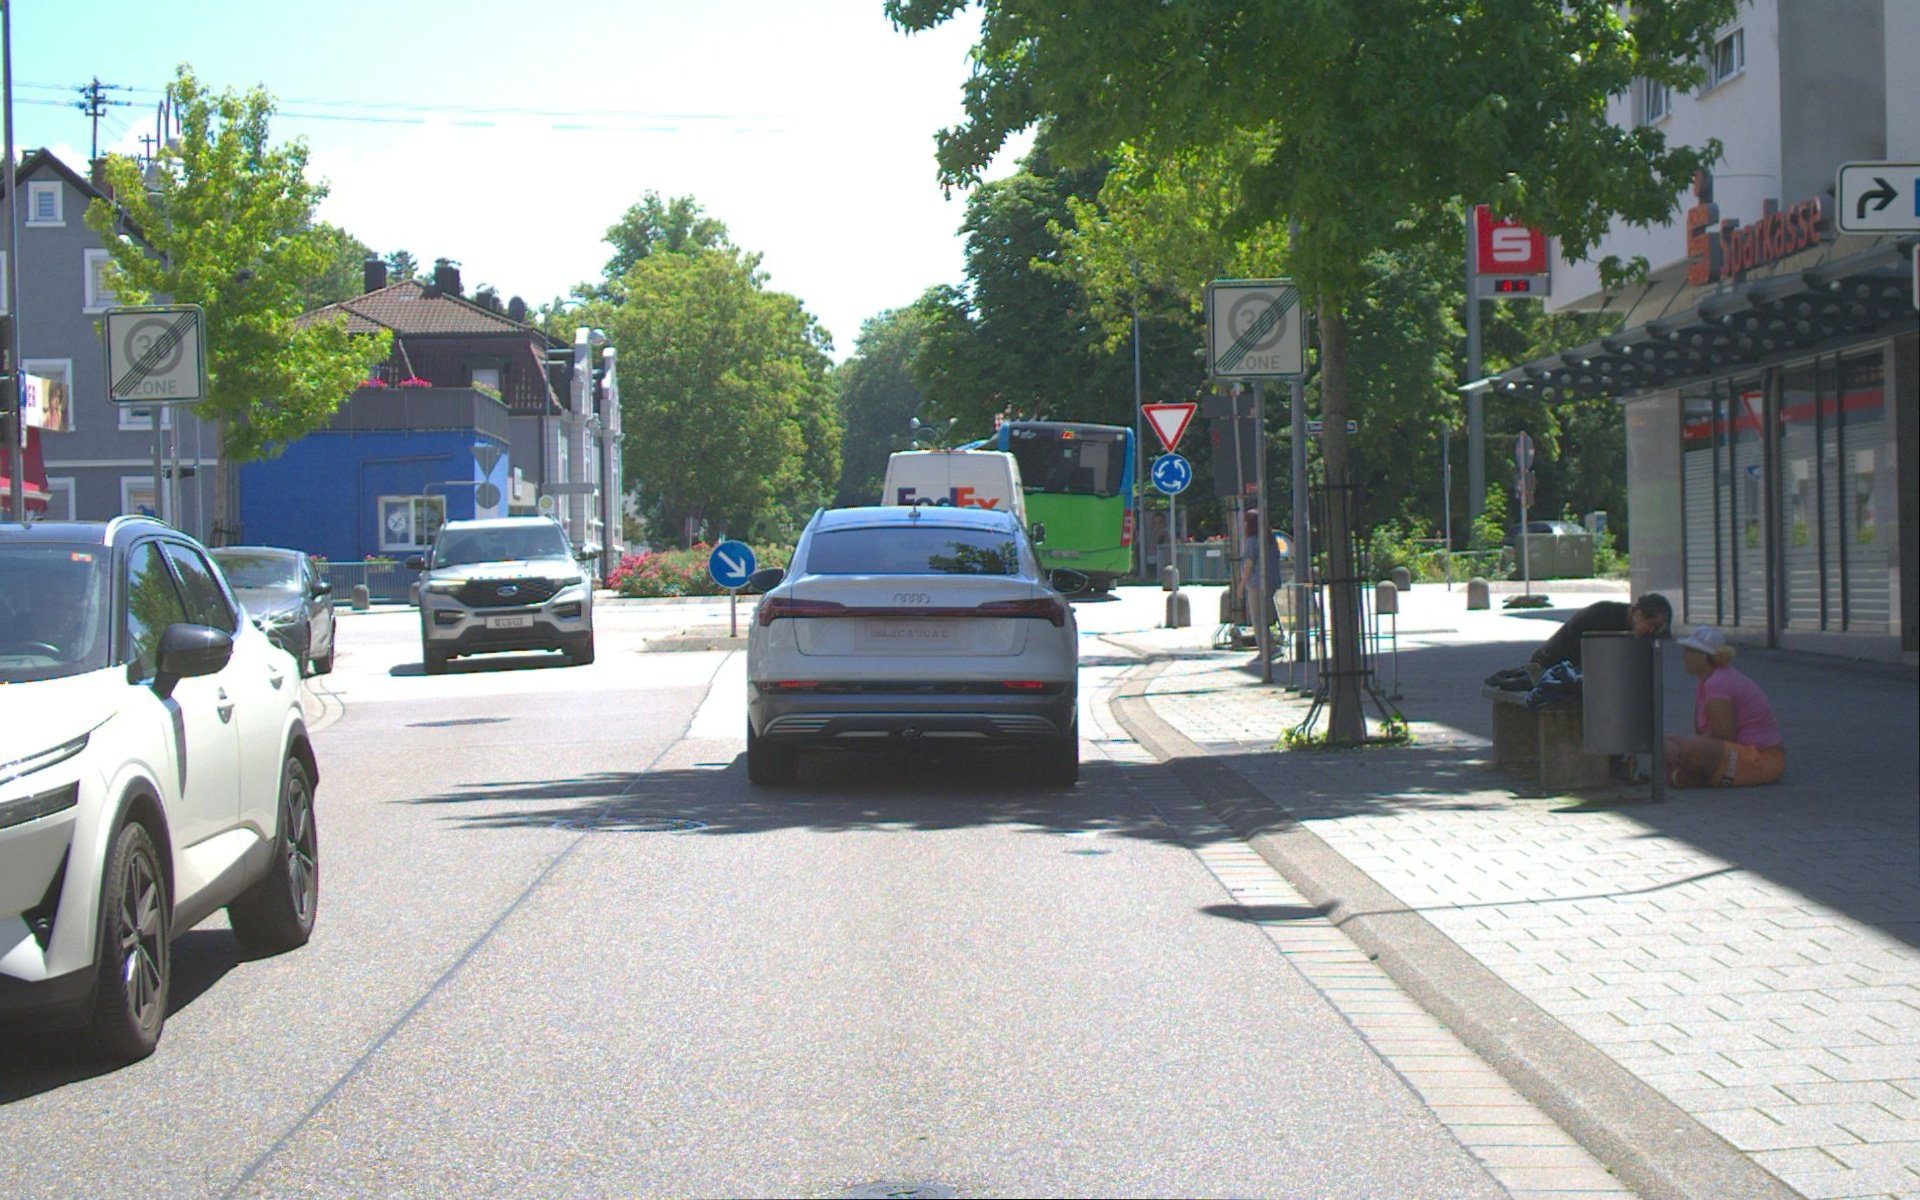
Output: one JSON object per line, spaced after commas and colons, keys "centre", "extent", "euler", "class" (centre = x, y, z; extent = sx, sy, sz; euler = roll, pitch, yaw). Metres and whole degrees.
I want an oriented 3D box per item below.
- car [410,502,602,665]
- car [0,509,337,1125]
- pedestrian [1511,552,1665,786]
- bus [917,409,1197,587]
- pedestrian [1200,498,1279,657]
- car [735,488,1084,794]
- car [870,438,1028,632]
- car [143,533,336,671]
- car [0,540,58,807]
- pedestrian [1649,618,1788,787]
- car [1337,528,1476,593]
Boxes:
{"centre": [-5.360, -0.231, 41.079], "extent": [1.900, 1.748, 4.758], "euler": [-3, 1, -4], "class": "car"}
{"centre": [-3.305, 0.549, 11.233], "extent": [1.771, 1.627, 4.300], "euler": [-1, 1, -1], "class": "car"}
{"centre": [3.421, 0.372, 18.710], "extent": [0.761, 1.236, 0.538], "euler": [-2, 1, 14], "class": "pedestrian"}
{"centre": [1.641, -1.940, 71.072], "extent": [3.706, 3.160, 18.072], "euler": [1, 1, -5], "class": "bus"}
{"centre": [2.869, -0.231, 35.305], "extent": [0.732, 1.604, 0.559], "euler": [-1, 1, 1], "class": "pedestrian"}
{"centre": [-0.289, 0.179, 20.974], "extent": [1.898, 1.656, 4.410], "euler": [0, 1, 0], "class": "car"}
{"centre": [-0.158, -0.888, 47.266], "extent": [1.993, 2.472, 5.484], "euler": [-1, 1, 0], "class": "car"}
{"centre": [-8.329, -0.015, 40.012], "extent": [1.666, 1.481, 4.062], "euler": [1, 1, -4], "class": "car"}
{"centre": [-6.093, 0.429, 18.364], "extent": [1.621, 1.468, 3.549], "euler": [-1, 1, -1], "class": "car"}
{"centre": [4.002, 0.534, 18.127], "extent": [0.678, 0.849, 0.538], "euler": [-2, 1, 14], "class": "pedestrian"}
{"centre": [11.271, -1.010, 86.816], "extent": [3.048, 1.547, 1.635], "euler": [-2, 1, -14], "class": "car"}
